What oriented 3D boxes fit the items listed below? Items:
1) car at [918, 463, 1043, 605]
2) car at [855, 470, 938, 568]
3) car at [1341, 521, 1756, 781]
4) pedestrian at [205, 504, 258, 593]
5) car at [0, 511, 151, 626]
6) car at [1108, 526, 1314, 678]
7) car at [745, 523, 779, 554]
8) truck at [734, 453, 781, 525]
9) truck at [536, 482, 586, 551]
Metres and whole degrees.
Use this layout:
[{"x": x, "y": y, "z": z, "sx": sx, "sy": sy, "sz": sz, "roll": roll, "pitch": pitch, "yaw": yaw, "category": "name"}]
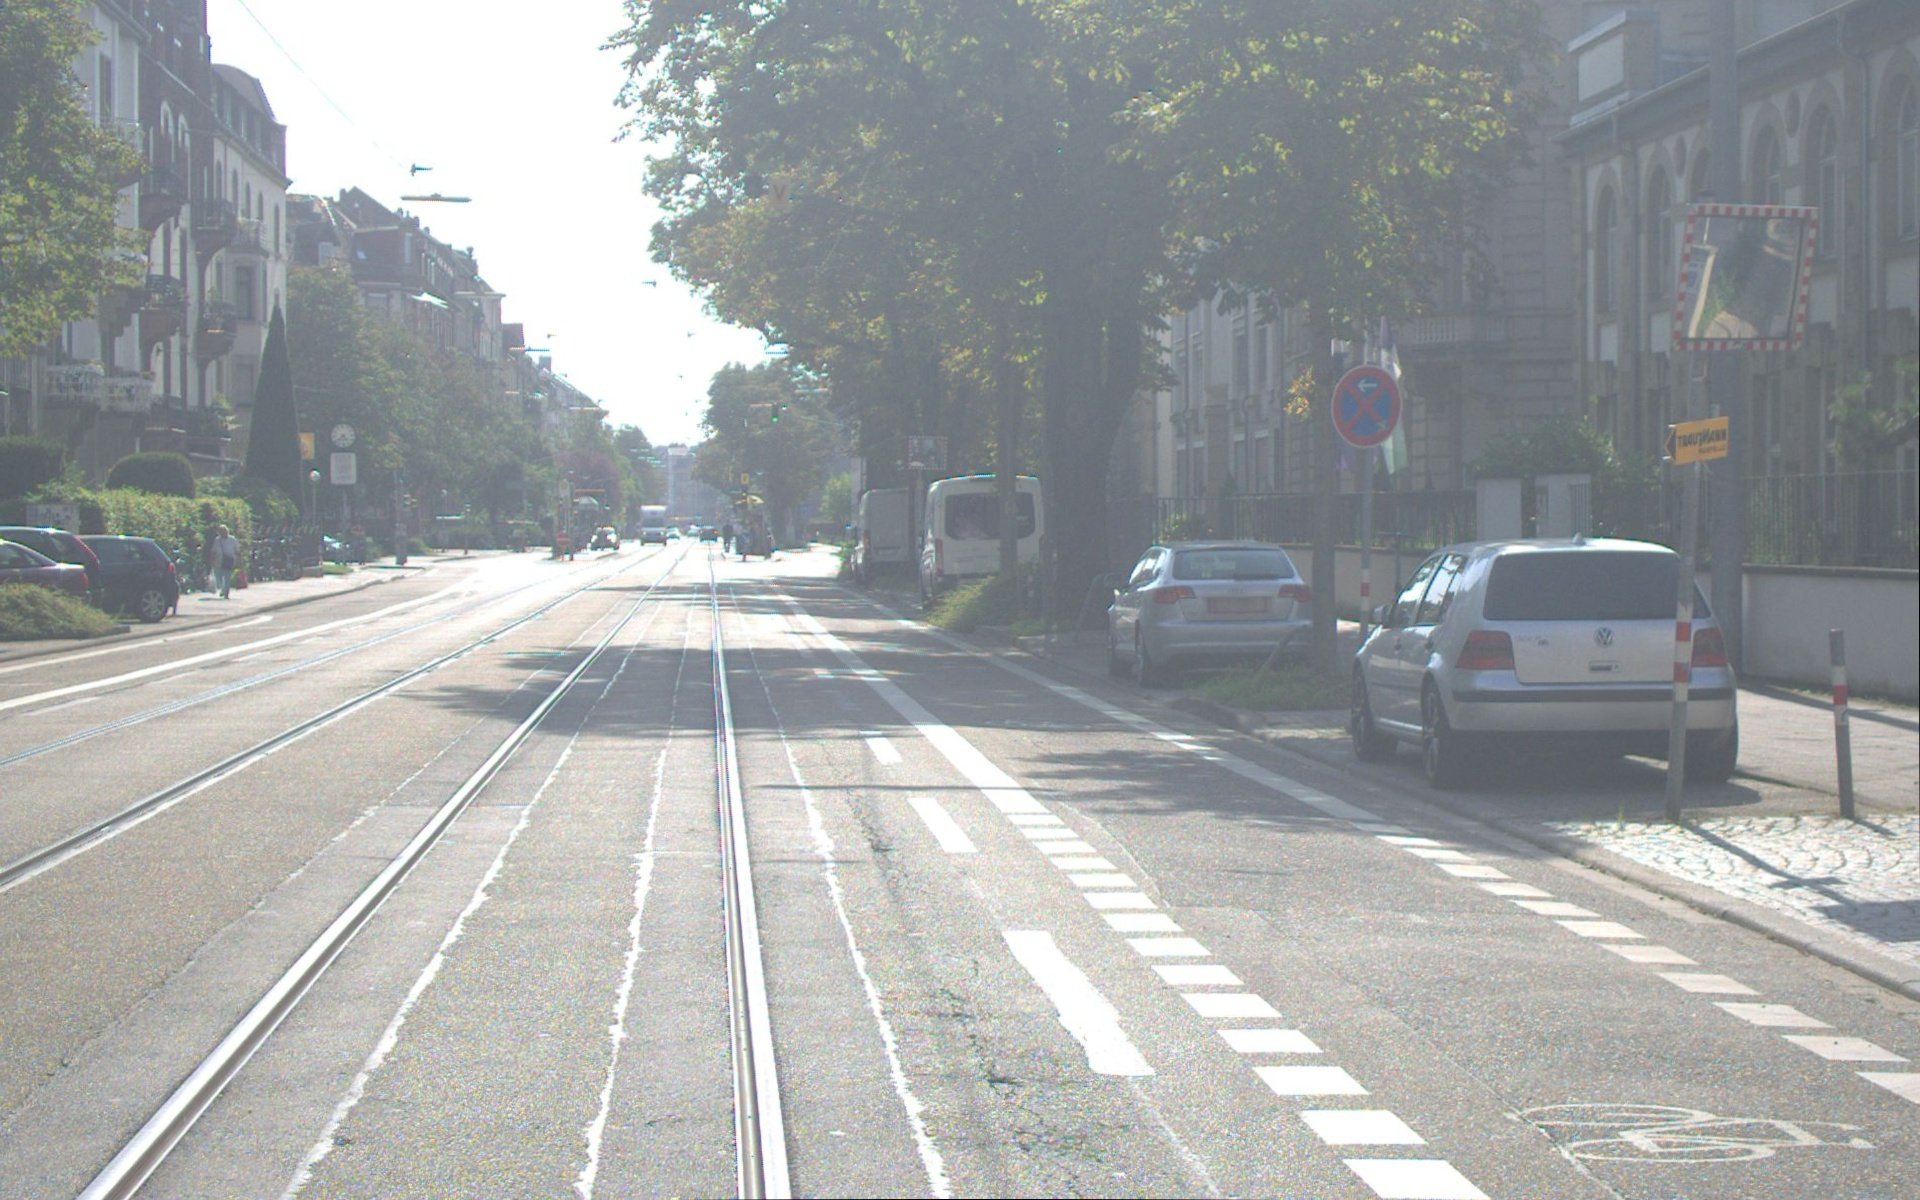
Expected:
[{"x": 0.332, "y": -1.219, "z": 62.357, "sx": 2.004, "sy": 2.482, "sz": 4.478, "roll": 0, "pitch": 1, "yaw": -3, "category": "car"}, {"x": -1.678, "y": -2.111, "z": 89.201, "sx": 2.004, "sy": 2.466, "sz": 4.478, "roll": 0, "pitch": 1, "yaw": -3, "category": "car"}, {"x": 3.431, "y": 0.237, "z": 20.681, "sx": 1.689, "sy": 1.413, "sz": 3.635, "roll": 0, "pitch": 1, "yaw": -3, "category": "car"}, {"x": -14.597, "y": -1.035, "z": 68.862, "sx": 0.961, "sy": 1.754, "sz": 0.661, "roll": 0, "pitch": 1, "yaw": -5, "category": "pedestrian"}, {"x": -13.916, "y": -0.464, "z": 49.707, "sx": 3.987, "sy": 1.634, "sz": 1.691, "roll": -1, "pitch": 2, "yaw": -31, "category": "car"}, {"x": 2.451, "y": -0.019, "z": 34.303, "sx": 1.594, "sy": 1.413, "sz": 3.635, "roll": 0, "pitch": 1, "yaw": -3, "category": "car"}, {"x": -11.873, "y": -3.676, "z": 206.268, "sx": 1.993, "sy": 1.831, "sz": 4.001, "roll": 0, "pitch": 1, "yaw": -3, "category": "car"}, {"x": -8.878, "y": -4.840, "z": 150.587, "sx": 1.860, "sy": 3.120, "sz": 4.354, "roll": 0, "pitch": 1, "yaw": -6, "category": "truck"}, {"x": -17.390, "y": -3.636, "z": 150.034, "sx": 1.993, "sy": 2.965, "sz": 4.572, "roll": 0, "pitch": 1, "yaw": -4, "category": "truck"}]
